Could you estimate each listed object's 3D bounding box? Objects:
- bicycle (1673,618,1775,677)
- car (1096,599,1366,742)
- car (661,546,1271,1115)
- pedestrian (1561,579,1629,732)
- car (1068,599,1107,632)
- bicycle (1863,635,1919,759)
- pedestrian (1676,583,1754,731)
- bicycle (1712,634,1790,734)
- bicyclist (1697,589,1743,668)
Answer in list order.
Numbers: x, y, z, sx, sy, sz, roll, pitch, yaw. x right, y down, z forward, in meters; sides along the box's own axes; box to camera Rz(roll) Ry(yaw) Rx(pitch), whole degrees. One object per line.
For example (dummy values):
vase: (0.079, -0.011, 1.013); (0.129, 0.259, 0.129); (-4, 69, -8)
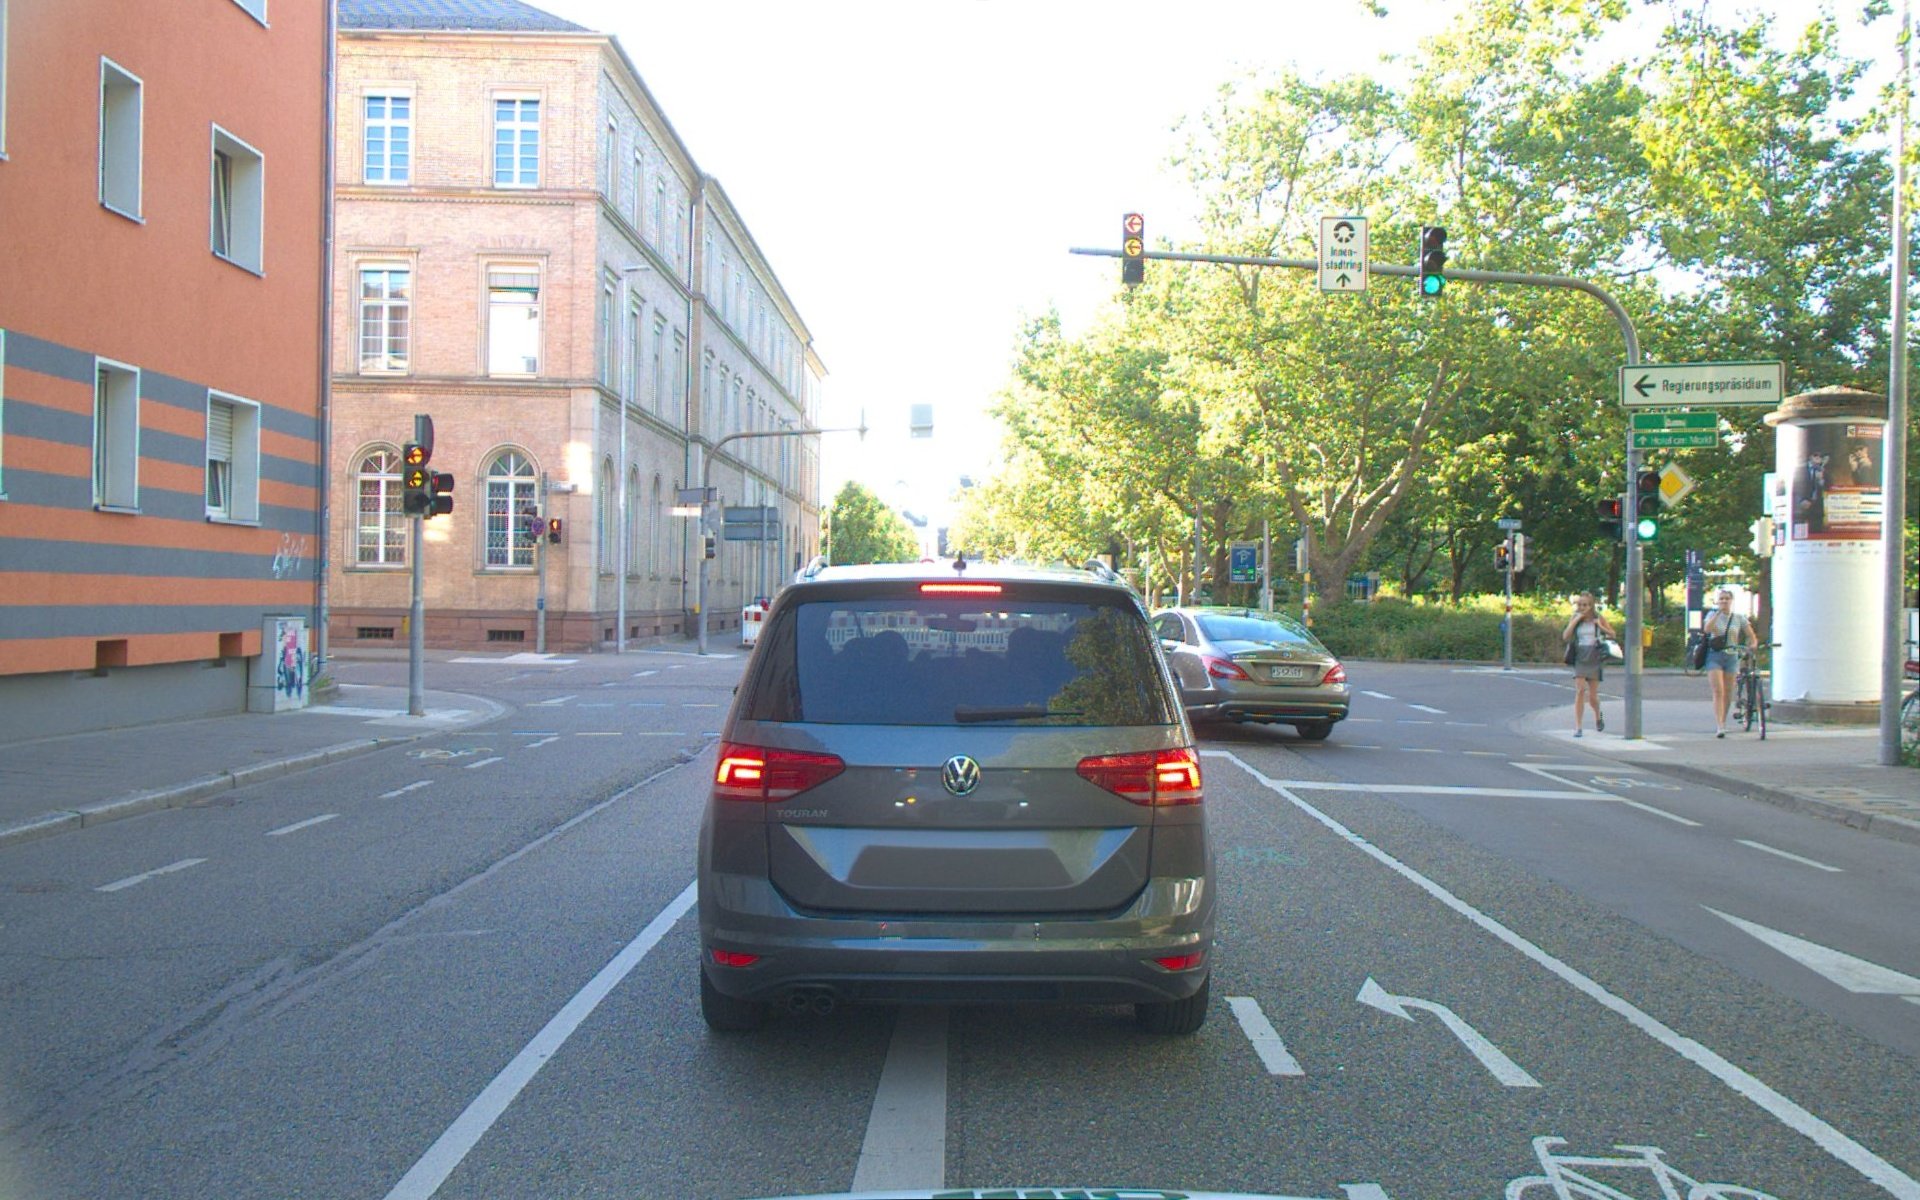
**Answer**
bicycle: (17.096, 1.058, 37.050); (1.989, 1.242, 0.599); (1, 0, 0)
car: (3.025, 0.740, 19.462); (1.809, 1.454, 4.508); (1, 0, -9)
car: (0.079, 0.675, 6.831); (1.772, 1.640, 4.001); (0, 0, 2)
pedestrian: (7.838, 0.672, 20.449); (0.716, 1.840, 0.909); (0, -1, 17)
car: (6.342, 0.762, 82.660); (1.655, 1.465, 3.902); (4, 0, 1)
bicycle: (10.219, 0.990, 16.680); (1.935, 1.210, 0.528); (1, 0, -1)
pedestrian: (9.103, 0.668, 19.977); (0.668, 1.727, 0.971); (1, 0, 15)
bicycle: (9.527, 0.986, 19.962); (0.513, 1.119, 1.742); (1, 0, 15)
bicyclist: (17.030, 0.629, 37.052); (0.695, 1.727, 0.675); (1, 0, 0)
